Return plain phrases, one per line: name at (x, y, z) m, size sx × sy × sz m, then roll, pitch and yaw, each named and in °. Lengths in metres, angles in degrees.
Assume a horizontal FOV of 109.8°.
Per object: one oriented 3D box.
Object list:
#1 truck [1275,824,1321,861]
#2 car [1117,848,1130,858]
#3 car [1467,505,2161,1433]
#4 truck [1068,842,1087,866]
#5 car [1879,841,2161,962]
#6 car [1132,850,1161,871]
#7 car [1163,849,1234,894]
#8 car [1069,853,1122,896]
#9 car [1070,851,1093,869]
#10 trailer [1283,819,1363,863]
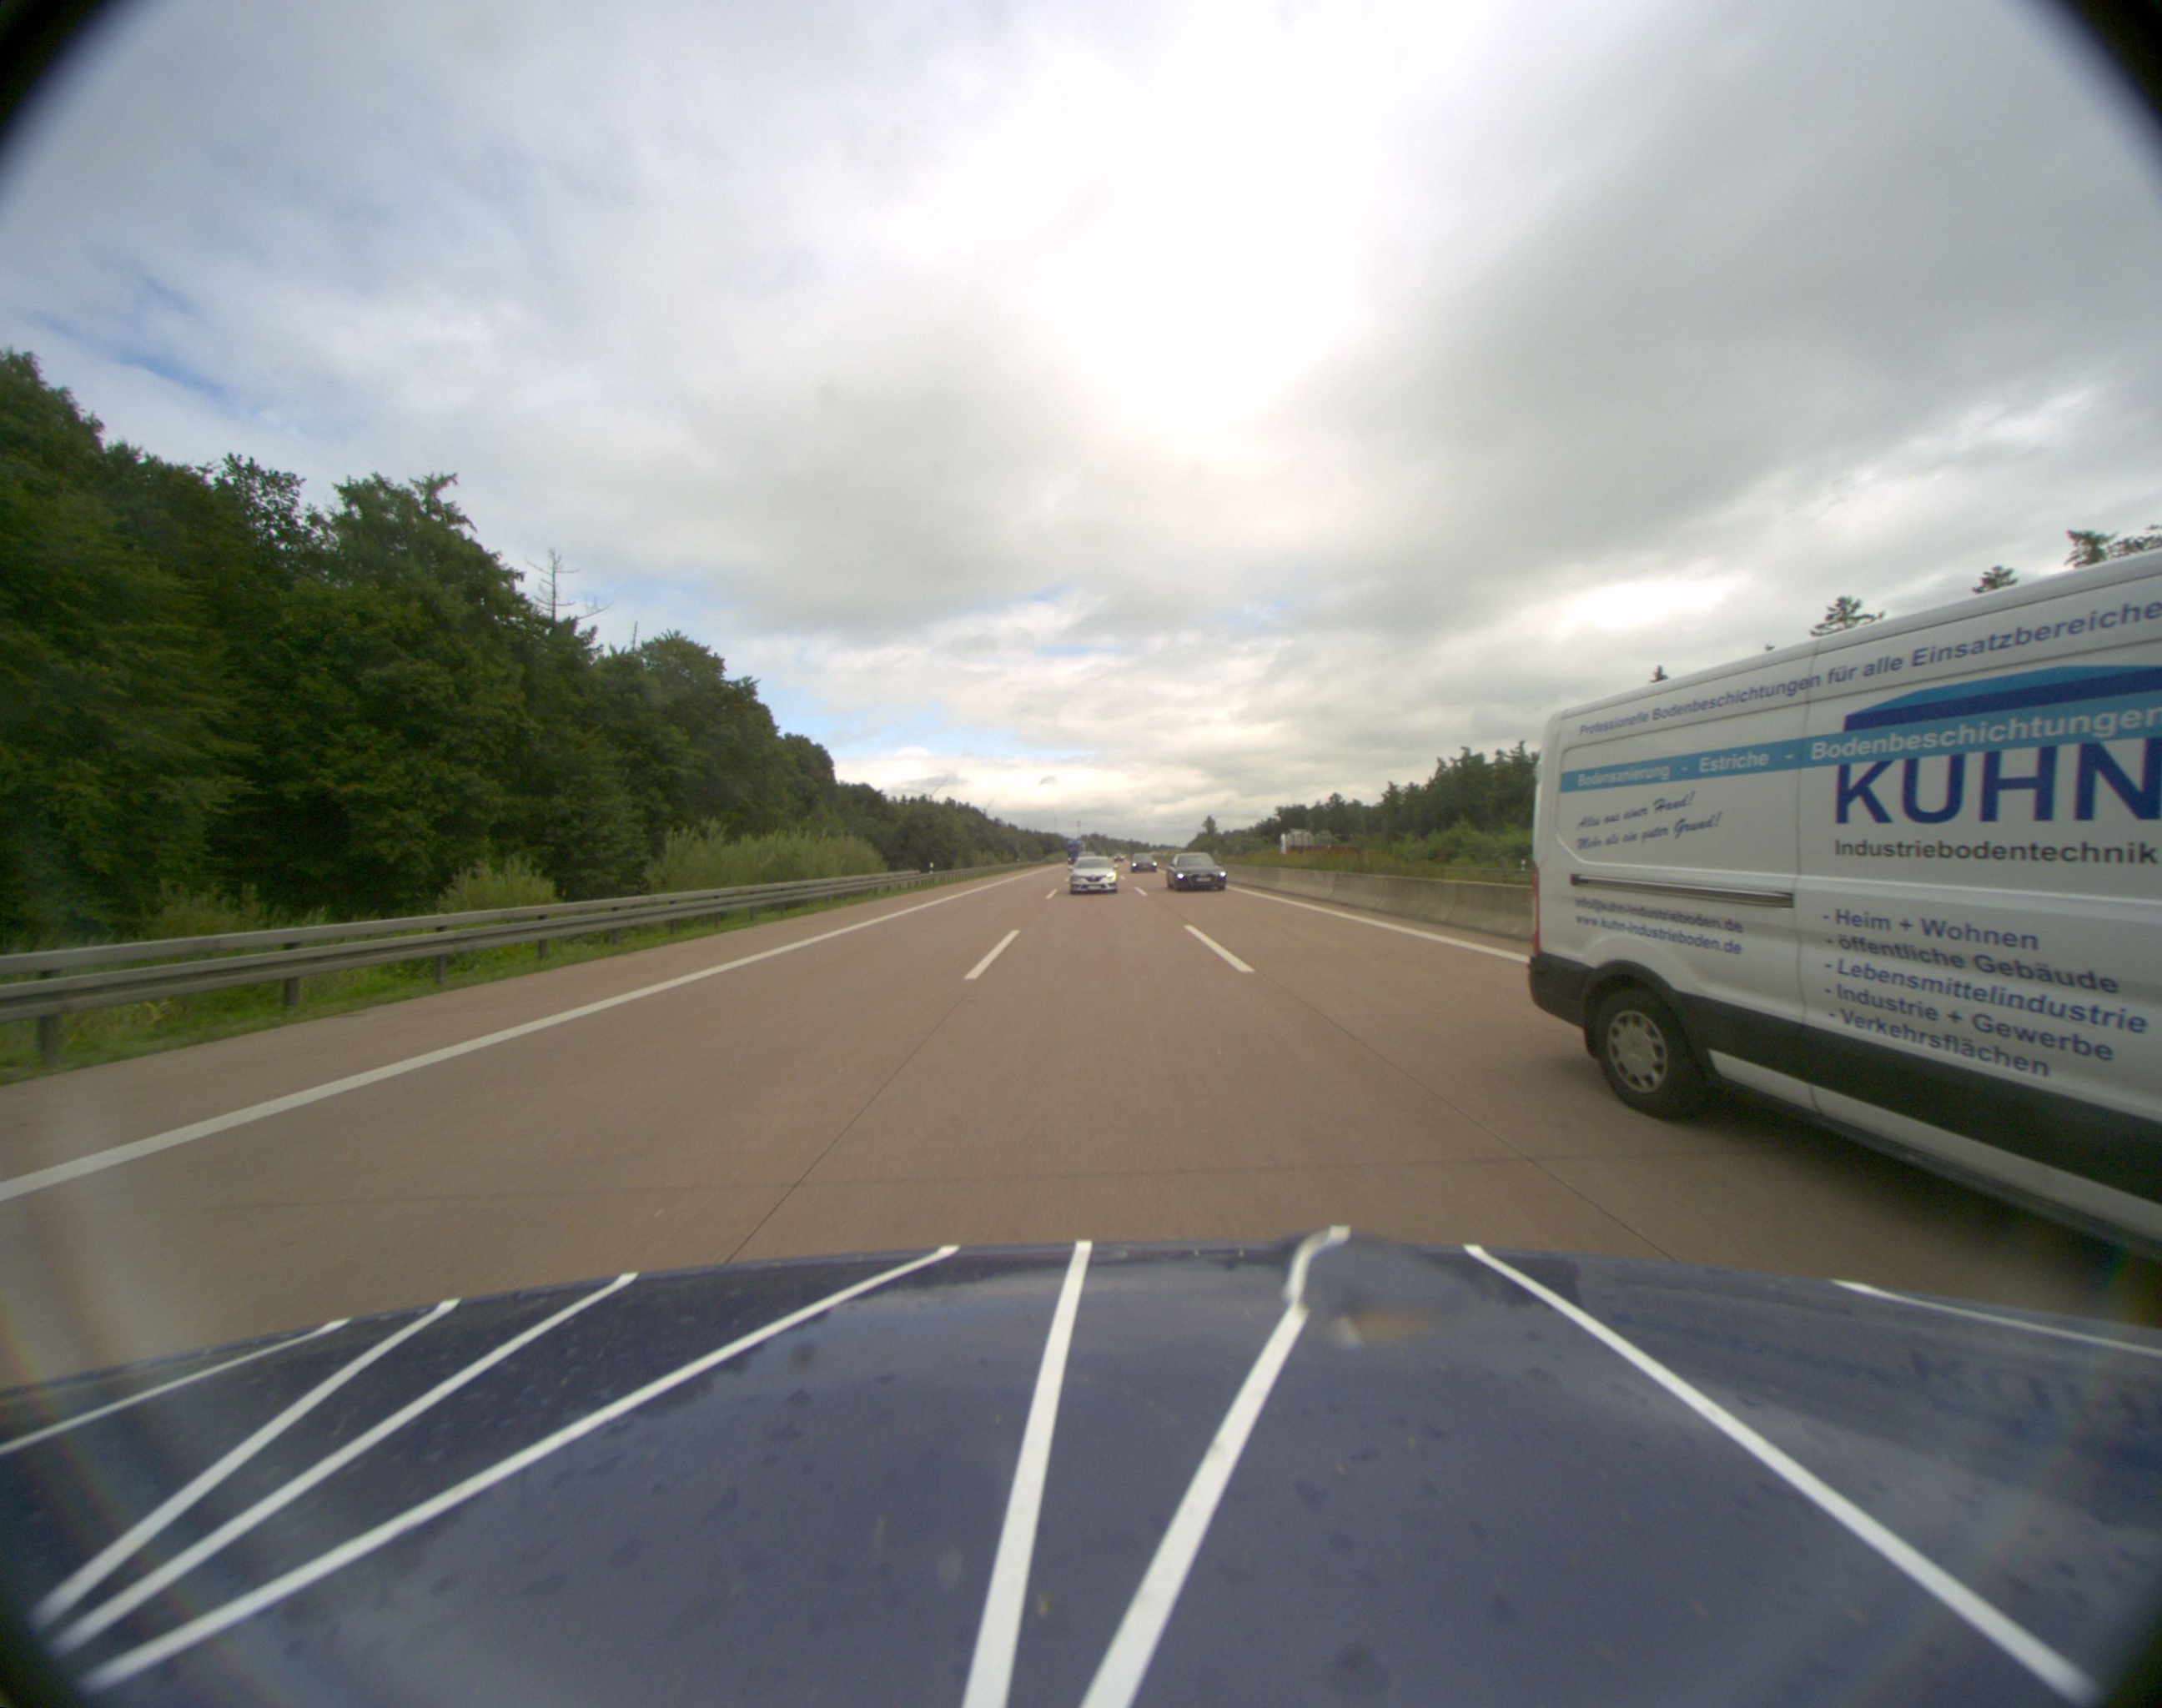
truck at (20.950, -1.079, 73.612) m, size 2.941 × 3.399 × 5.344 m, roll -2°, pitch 0°, yaw 1°
car at (7.934, -0.253, 142.765) m, size 1.998 × 1.689 × 5.251 m, roll -2°, pitch 1°, yaw 0°
car at (3.965, 0.295, 2.112) m, size 2.143 × 2.492 × 7.131 m, roll -1°, pitch 0°, yaw 0°
truck at (-0.594, -0.025, 130.680) m, size 2.956 × 3.705 × 7.949 m, roll -5°, pitch 0°, yaw 0°
car at (20.269, 0.807, 15.607) m, size 2.260 × 2.002 × 5.269 m, roll -4°, pitch 0°, yaw 3°
car at (5.139, 0.504, 60.629) m, size 2.064 × 1.483 × 5.453 m, roll -2°, pitch 1°, yaw 3°
car at (4.579, 0.611, 30.358) m, size 2.090 × 1.541 × 5.674 m, roll -2°, pitch 0°, yaw 2°
car at (0.605, 0.764, 30.346) m, size 1.923 × 1.516 × 4.000 m, roll -2°, pitch 0°, yaw 2°
car at (0.084, 0.516, 68.893) m, size 1.986 × 1.499 × 4.052 m, roll -2°, pitch 1°, yaw 1°
trailer at (20.793, -1.047, 66.449) m, size 2.941 × 3.399 × 13.270 m, roll -2°, pitch 0°, yaw 1°
